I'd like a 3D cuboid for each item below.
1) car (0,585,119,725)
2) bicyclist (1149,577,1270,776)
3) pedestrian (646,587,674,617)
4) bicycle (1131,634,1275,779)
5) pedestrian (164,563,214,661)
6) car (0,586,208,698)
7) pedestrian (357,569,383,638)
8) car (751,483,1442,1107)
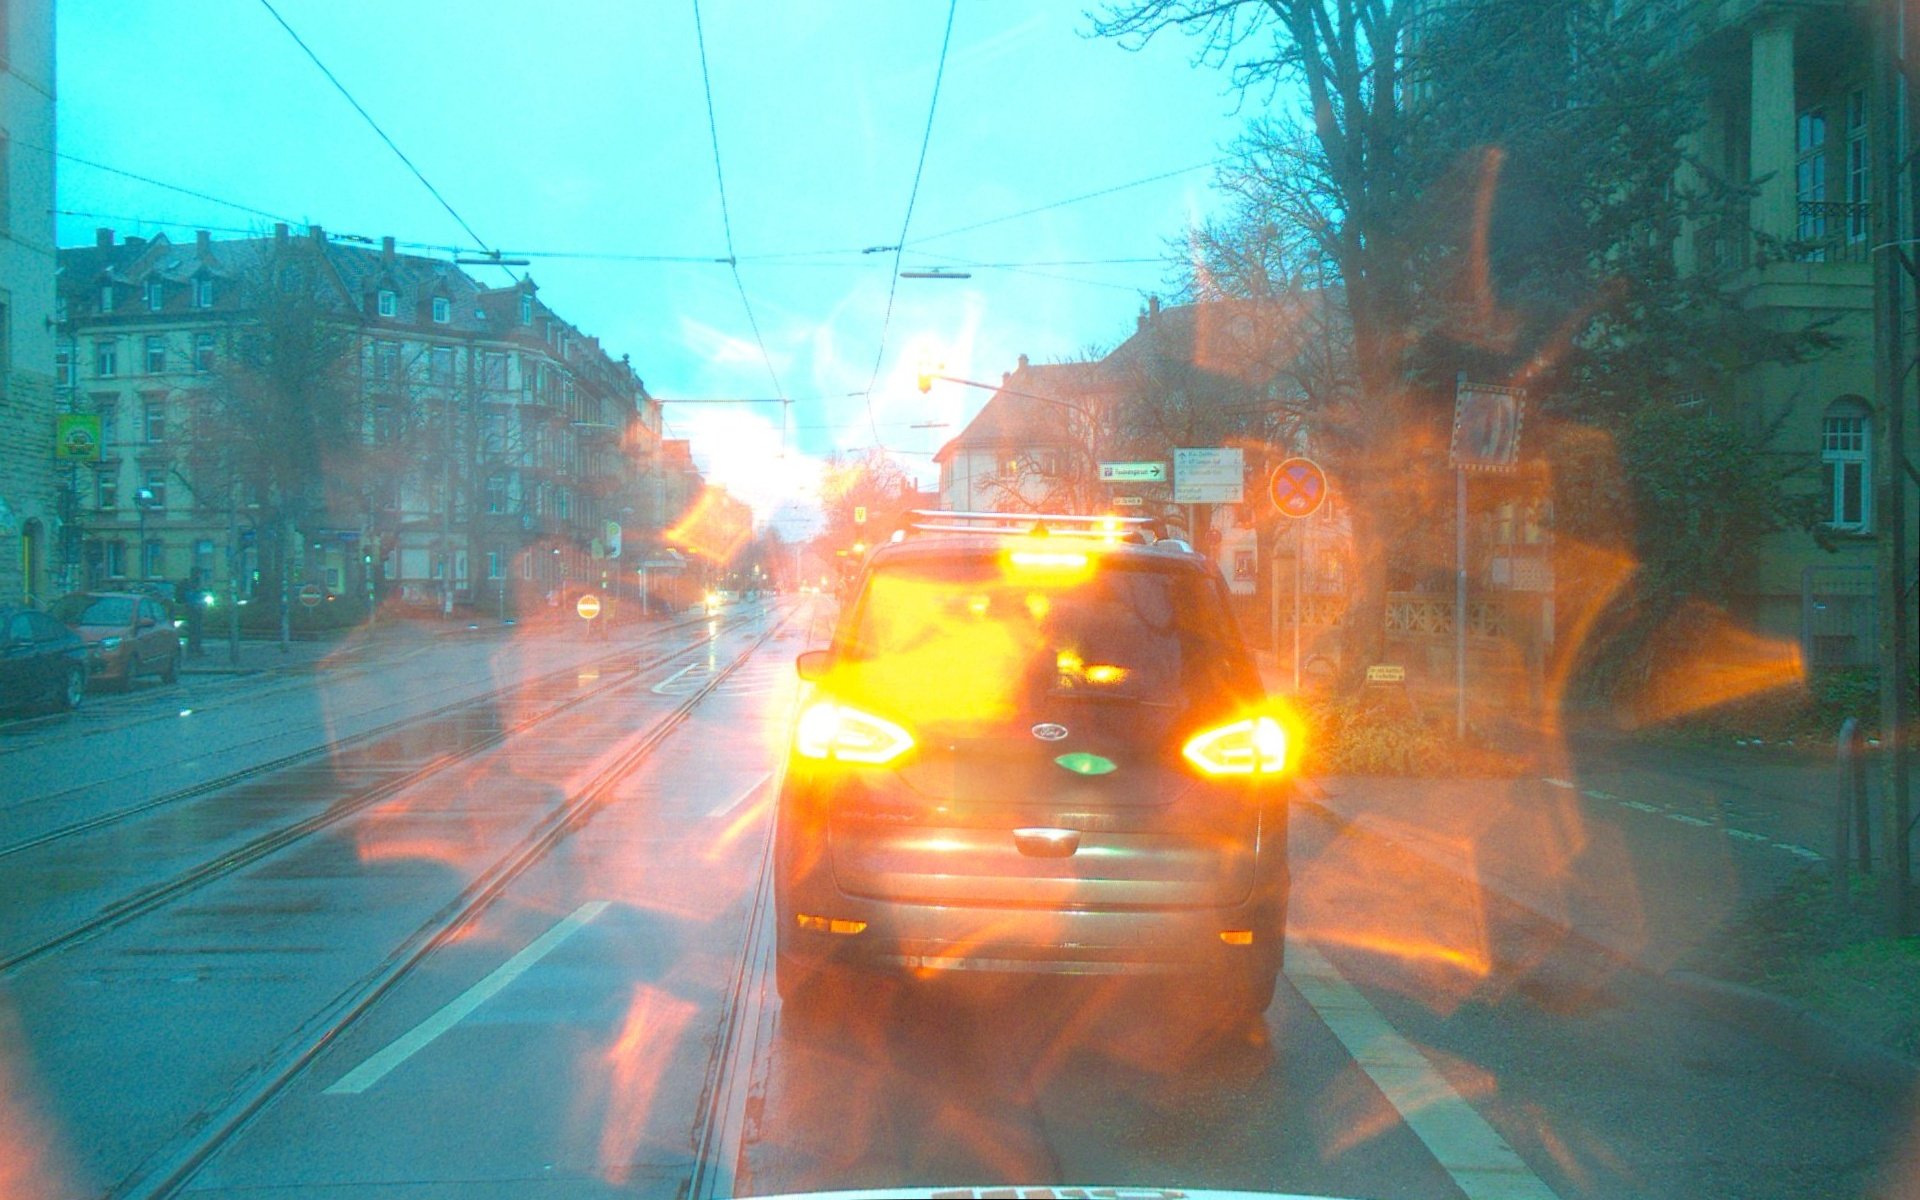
[{"bbox_3d":[-13.120,0.663,21.889,1.949,1.674,4.624,5,-1,-7],"label":"car"},{"bbox_3d":[2.223,0.660,14.866,0.703,1.691,1.054,4,0,-9],"label":"bicyclist"},{"bbox_3d":[-12.308,0.081,67.889,1.027,1.221,0.884,1,0,-4],"label":"pedestrian"},{"bbox_3d":[2.173,0.935,15.077,0.703,1.131,1.938,4,0,-9],"label":"bicycle"},{"bbox_3d":[-16.328,0.260,35.031,0.742,2.049,0.646,0,-1,32],"label":"pedestrian"},{"bbox_3d":[-14.260,0.640,27.662,2.000,1.578,4.023,4,0,-9],"label":"car"},{"bbox_3d":[-17.731,0.104,49.732,0.695,2.049,0.656,0,0,-24],"label":"pedestrian"},{"bbox_3d":[0.333,0.584,7.355,2.061,1.848,4.658,2,0,-2],"label":"car"}]
